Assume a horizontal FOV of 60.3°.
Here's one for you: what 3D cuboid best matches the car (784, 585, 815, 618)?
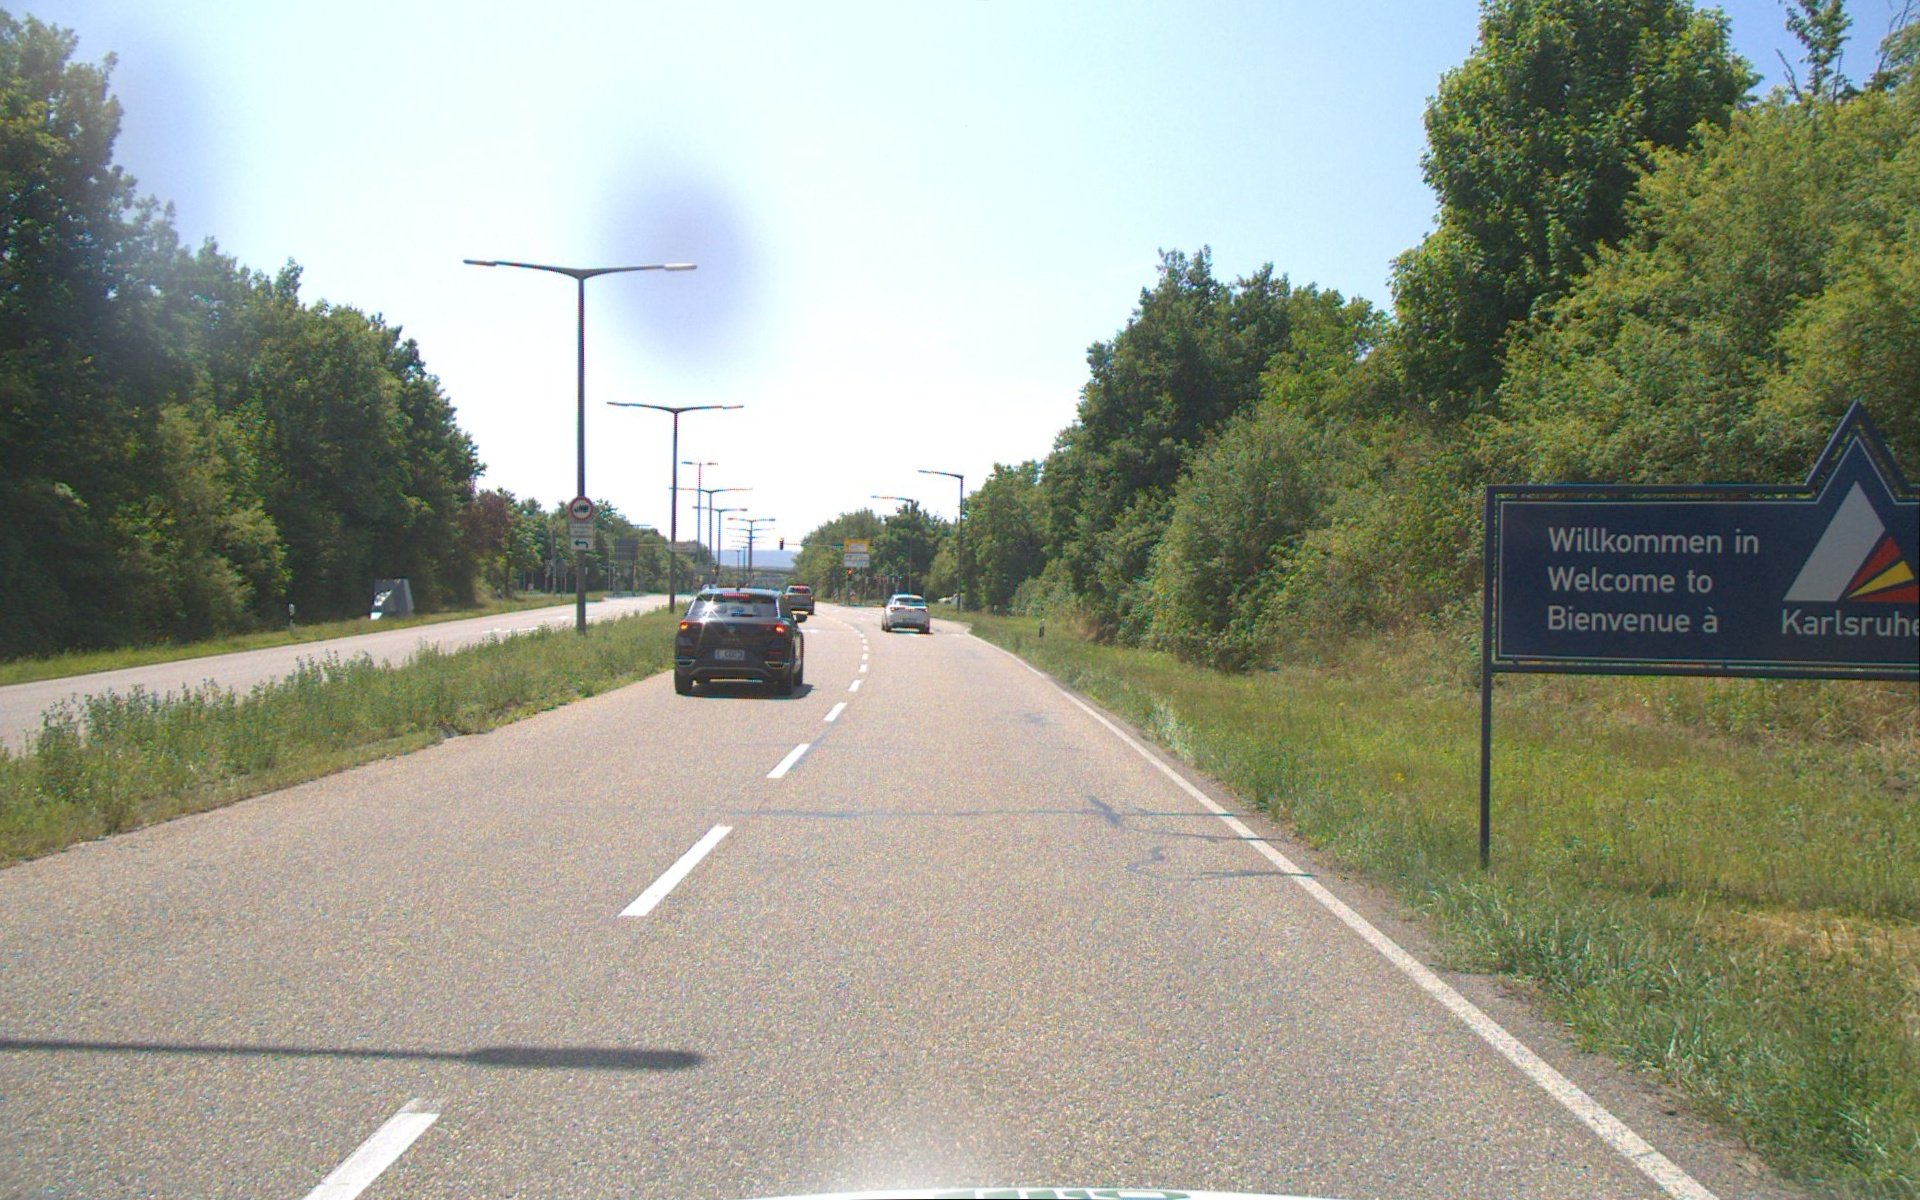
[{"bbox_3d":[-9.815,0.081,100.923,1.722,1.962,3.994,2,0,-7],"label":"car"}]

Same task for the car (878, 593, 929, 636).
[{"bbox_3d":[-2.277,0.543,65.345,1.762,1.611,3.995,1,0,-5],"label":"car"}]

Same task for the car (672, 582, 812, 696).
[{"bbox_3d":[-3.300,0.560,25.676,1.720,1.583,3.998,2,0,-2],"label":"car"}]

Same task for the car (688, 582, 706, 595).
[{"bbox_3d":[-31.383,-1.370,197.670,1.792,1.545,3.996,2,0,-5],"label":"car"}]
